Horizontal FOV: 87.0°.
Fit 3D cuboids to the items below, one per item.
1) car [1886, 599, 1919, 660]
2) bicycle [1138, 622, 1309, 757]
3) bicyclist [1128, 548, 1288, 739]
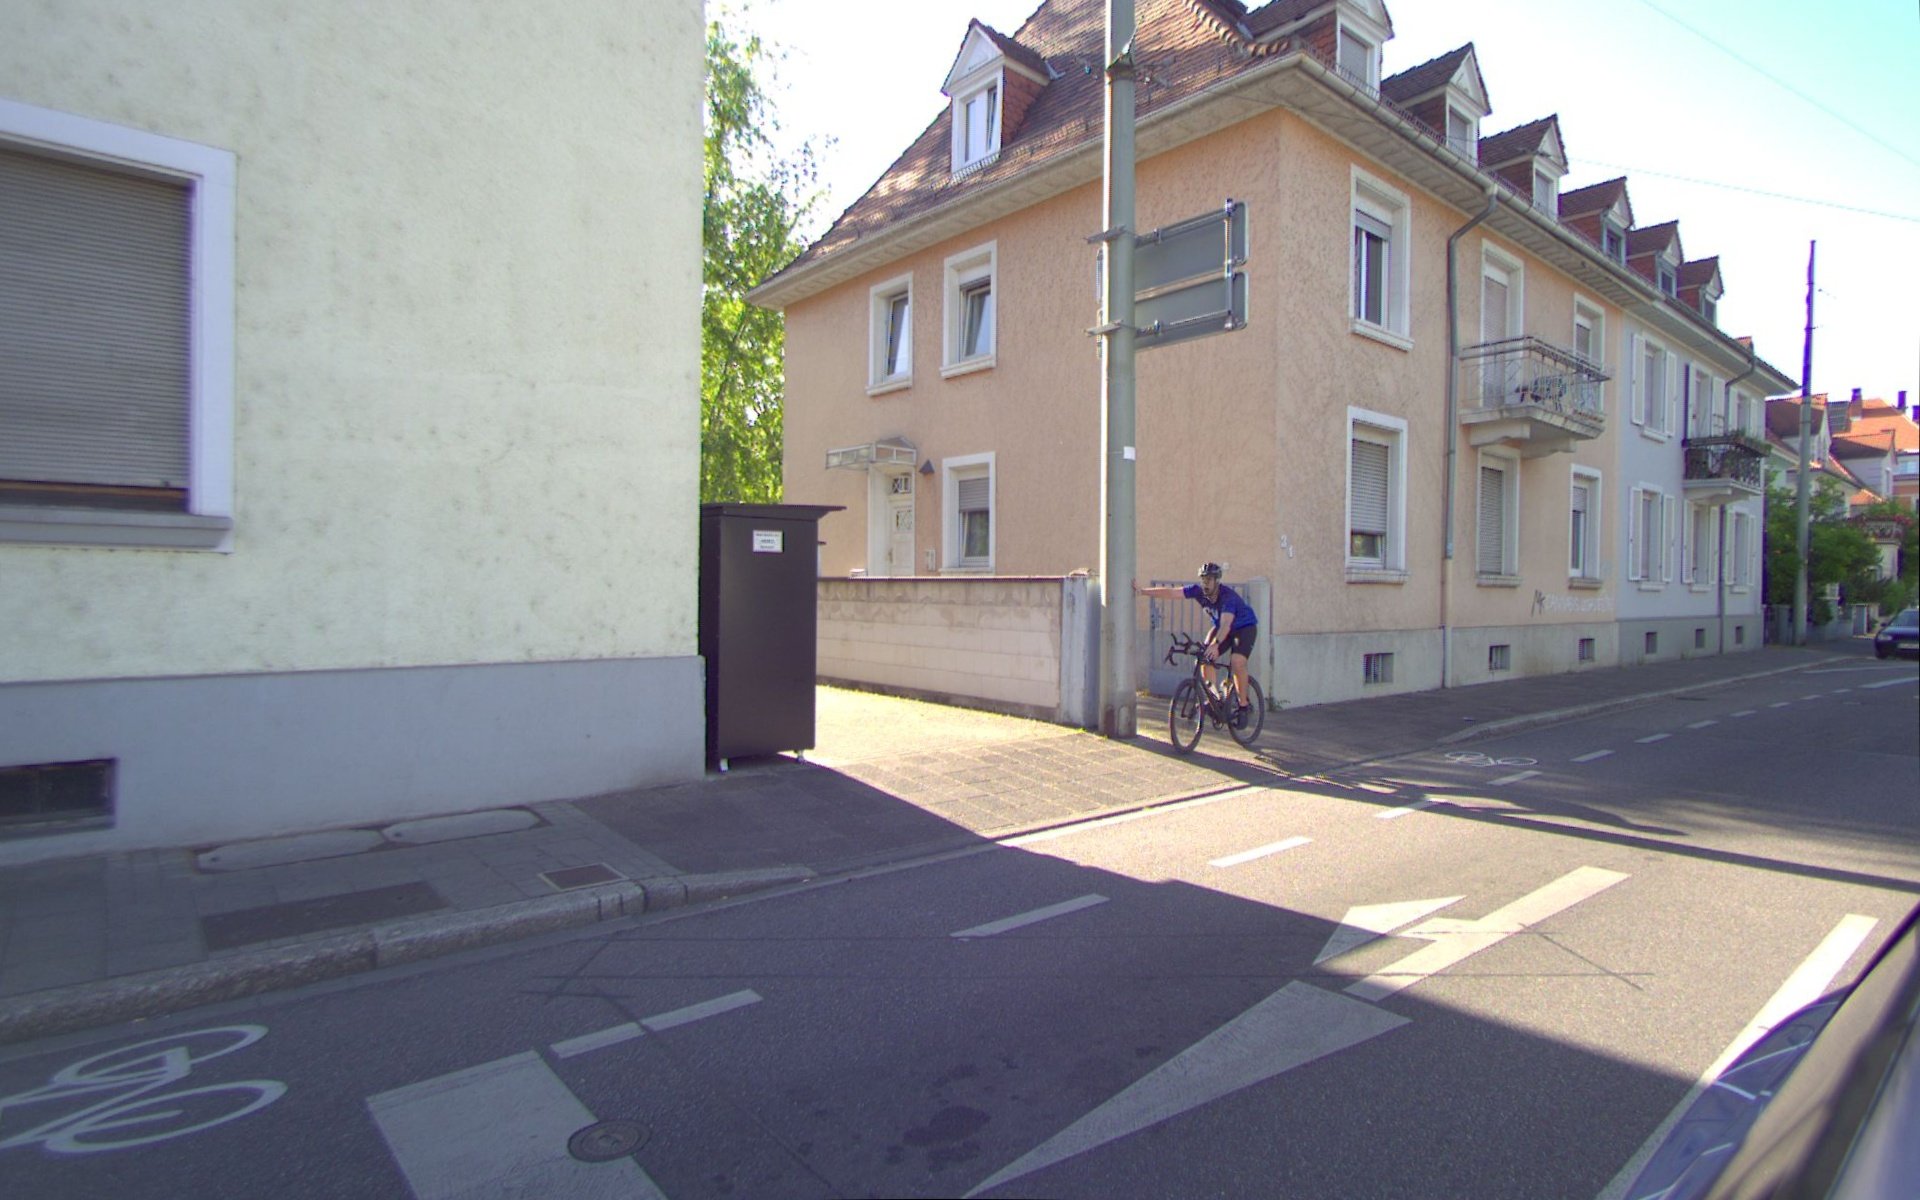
[{"bbox_3d":[26.682,0.755,27.372,3.742,1.601,1.696,0,-1,-36],"label":"car"},{"bbox_3d":[2.501,0.786,9.501,1.744,1.081,0.592,0,5,-41],"label":"bicycle"},{"bbox_3d":[2.345,0.372,9.621,0.870,1.627,1.052,1,5,-41],"label":"bicyclist"}]
